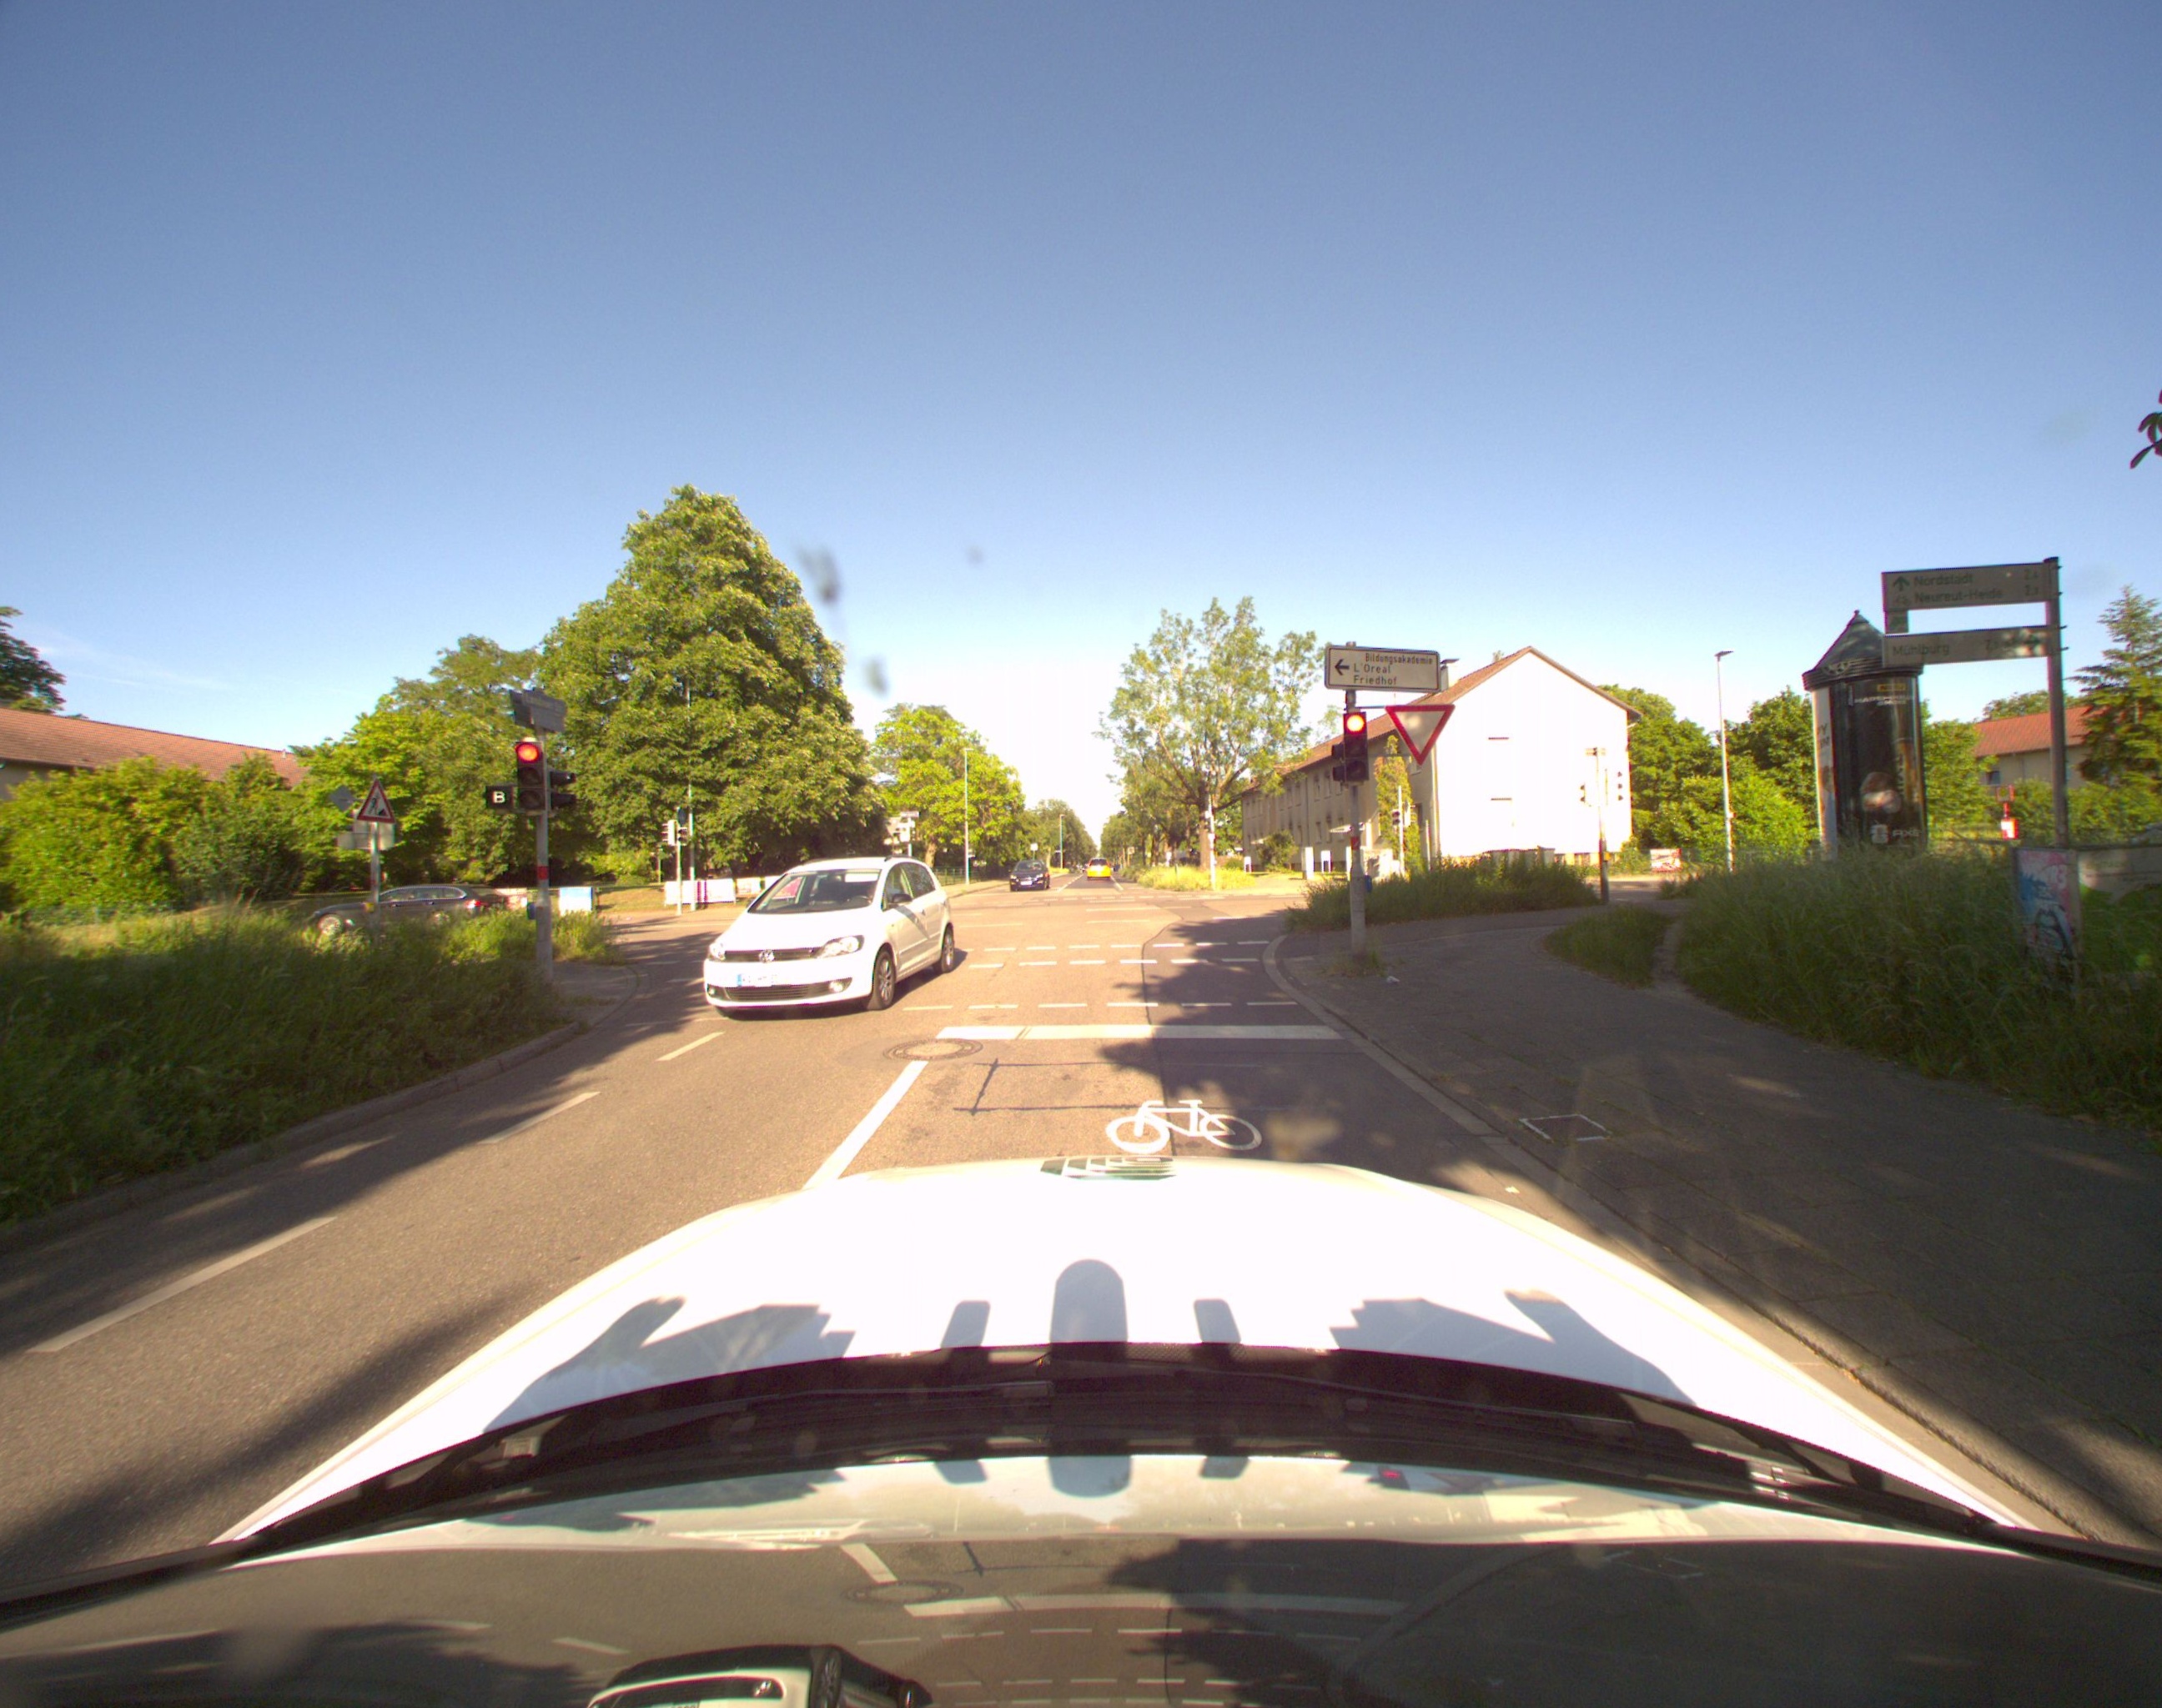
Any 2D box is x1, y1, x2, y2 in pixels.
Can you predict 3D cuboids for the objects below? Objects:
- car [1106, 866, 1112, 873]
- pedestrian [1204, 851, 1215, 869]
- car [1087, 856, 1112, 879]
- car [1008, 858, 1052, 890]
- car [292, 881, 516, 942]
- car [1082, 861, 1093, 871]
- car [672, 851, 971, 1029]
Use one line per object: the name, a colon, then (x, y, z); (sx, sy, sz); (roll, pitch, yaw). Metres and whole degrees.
car: (7.538, 4.183, 219.266); (1.766, 1.754, 4.002); (-1, -1, 2)
pedestrian: (10.740, 0.490, 68.083); (0.839, 1.493, 0.924); (1, 0, 1)
car: (1.376, 0.978, 58.598); (1.745, 1.582, 4.002); (-1, -1, 2)
car: (-2.378, 0.922, 38.803); (1.704, 1.385, 3.473); (-2, 0, 3)
car: (-20.022, 1.677, 24.299); (4.725, 1.430, 1.994); (-3, 0, -8)
car: (1.081, 2.084, 141.958); (1.751, 1.624, 3.271); (-2, 0, 3)
car: (-2.701, 0.798, 9.610); (1.743, 1.563, 4.128); (-4, 0, 6)
